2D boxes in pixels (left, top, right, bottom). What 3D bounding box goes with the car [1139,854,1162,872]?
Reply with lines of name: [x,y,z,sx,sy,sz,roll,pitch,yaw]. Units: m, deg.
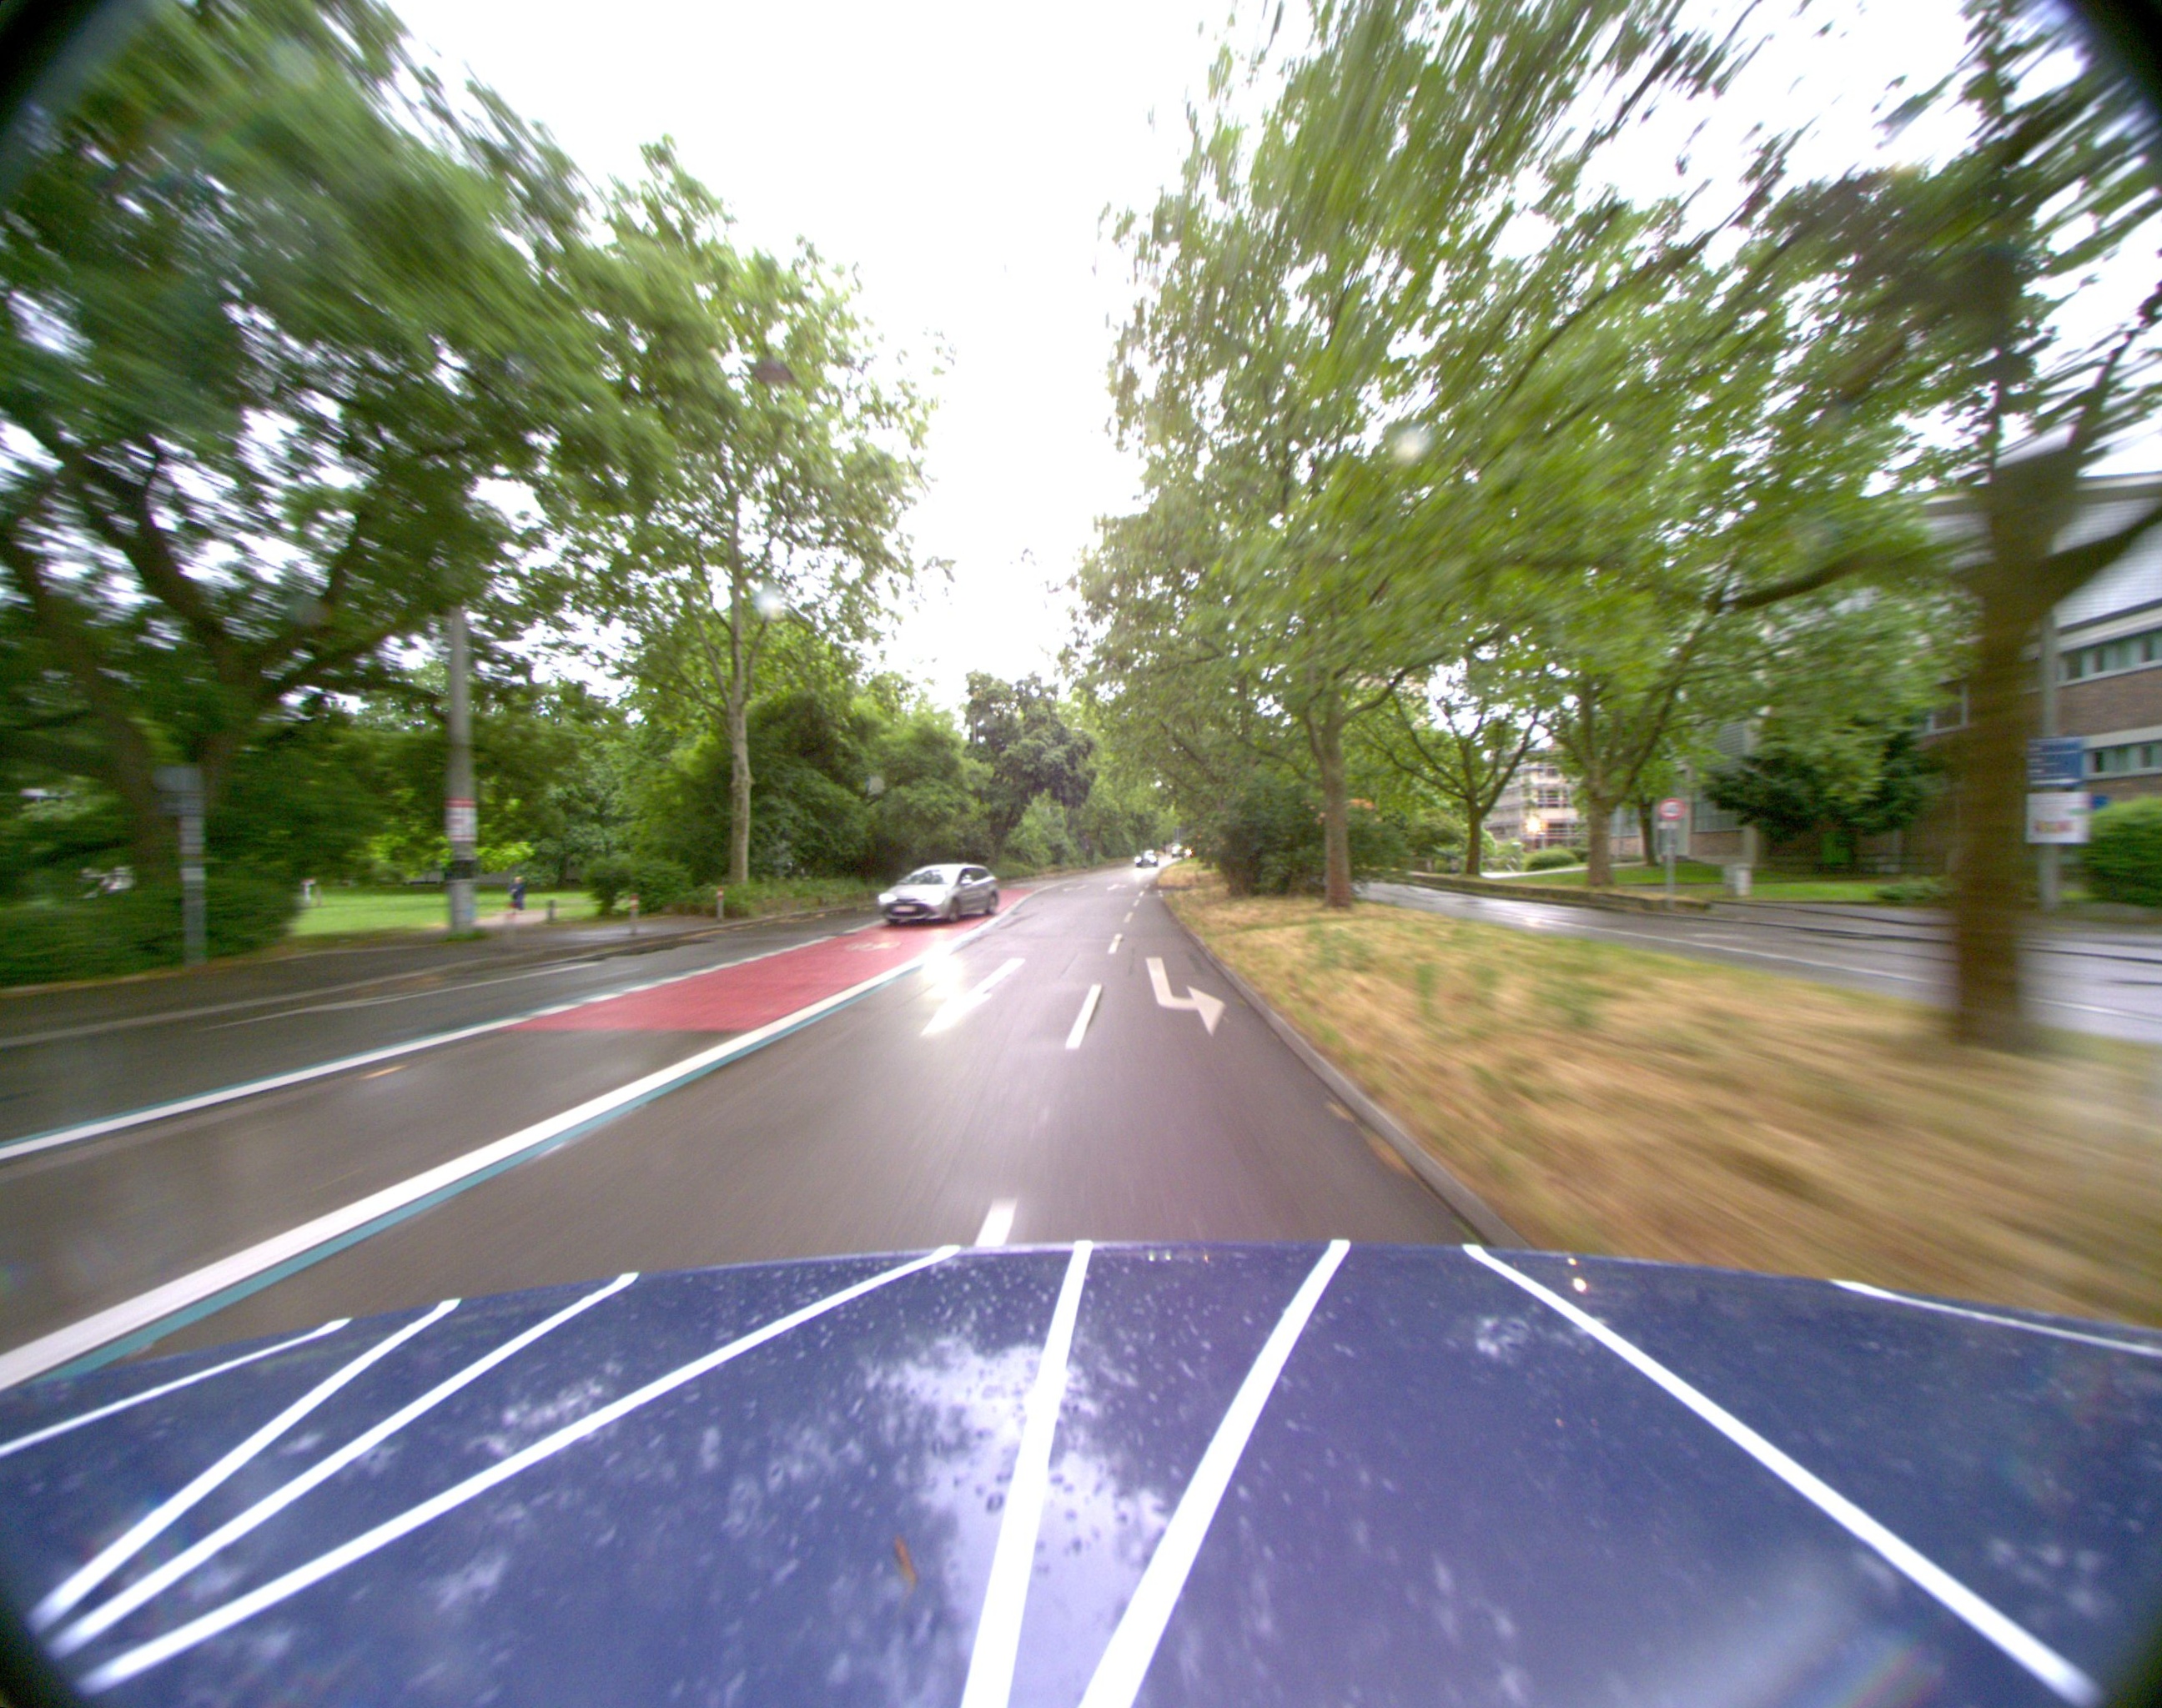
car: [6.967,0.867,75.723,1.832,1.599,4.580,-2,1,11]

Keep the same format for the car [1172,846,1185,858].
car: [15.918,-0.403,124.302,1.883,1.865,4.745,-2,0,9]

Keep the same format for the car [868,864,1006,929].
car: [-3.597,1.029,19.972,1.865,1.441,4.408,-1,0,14]
